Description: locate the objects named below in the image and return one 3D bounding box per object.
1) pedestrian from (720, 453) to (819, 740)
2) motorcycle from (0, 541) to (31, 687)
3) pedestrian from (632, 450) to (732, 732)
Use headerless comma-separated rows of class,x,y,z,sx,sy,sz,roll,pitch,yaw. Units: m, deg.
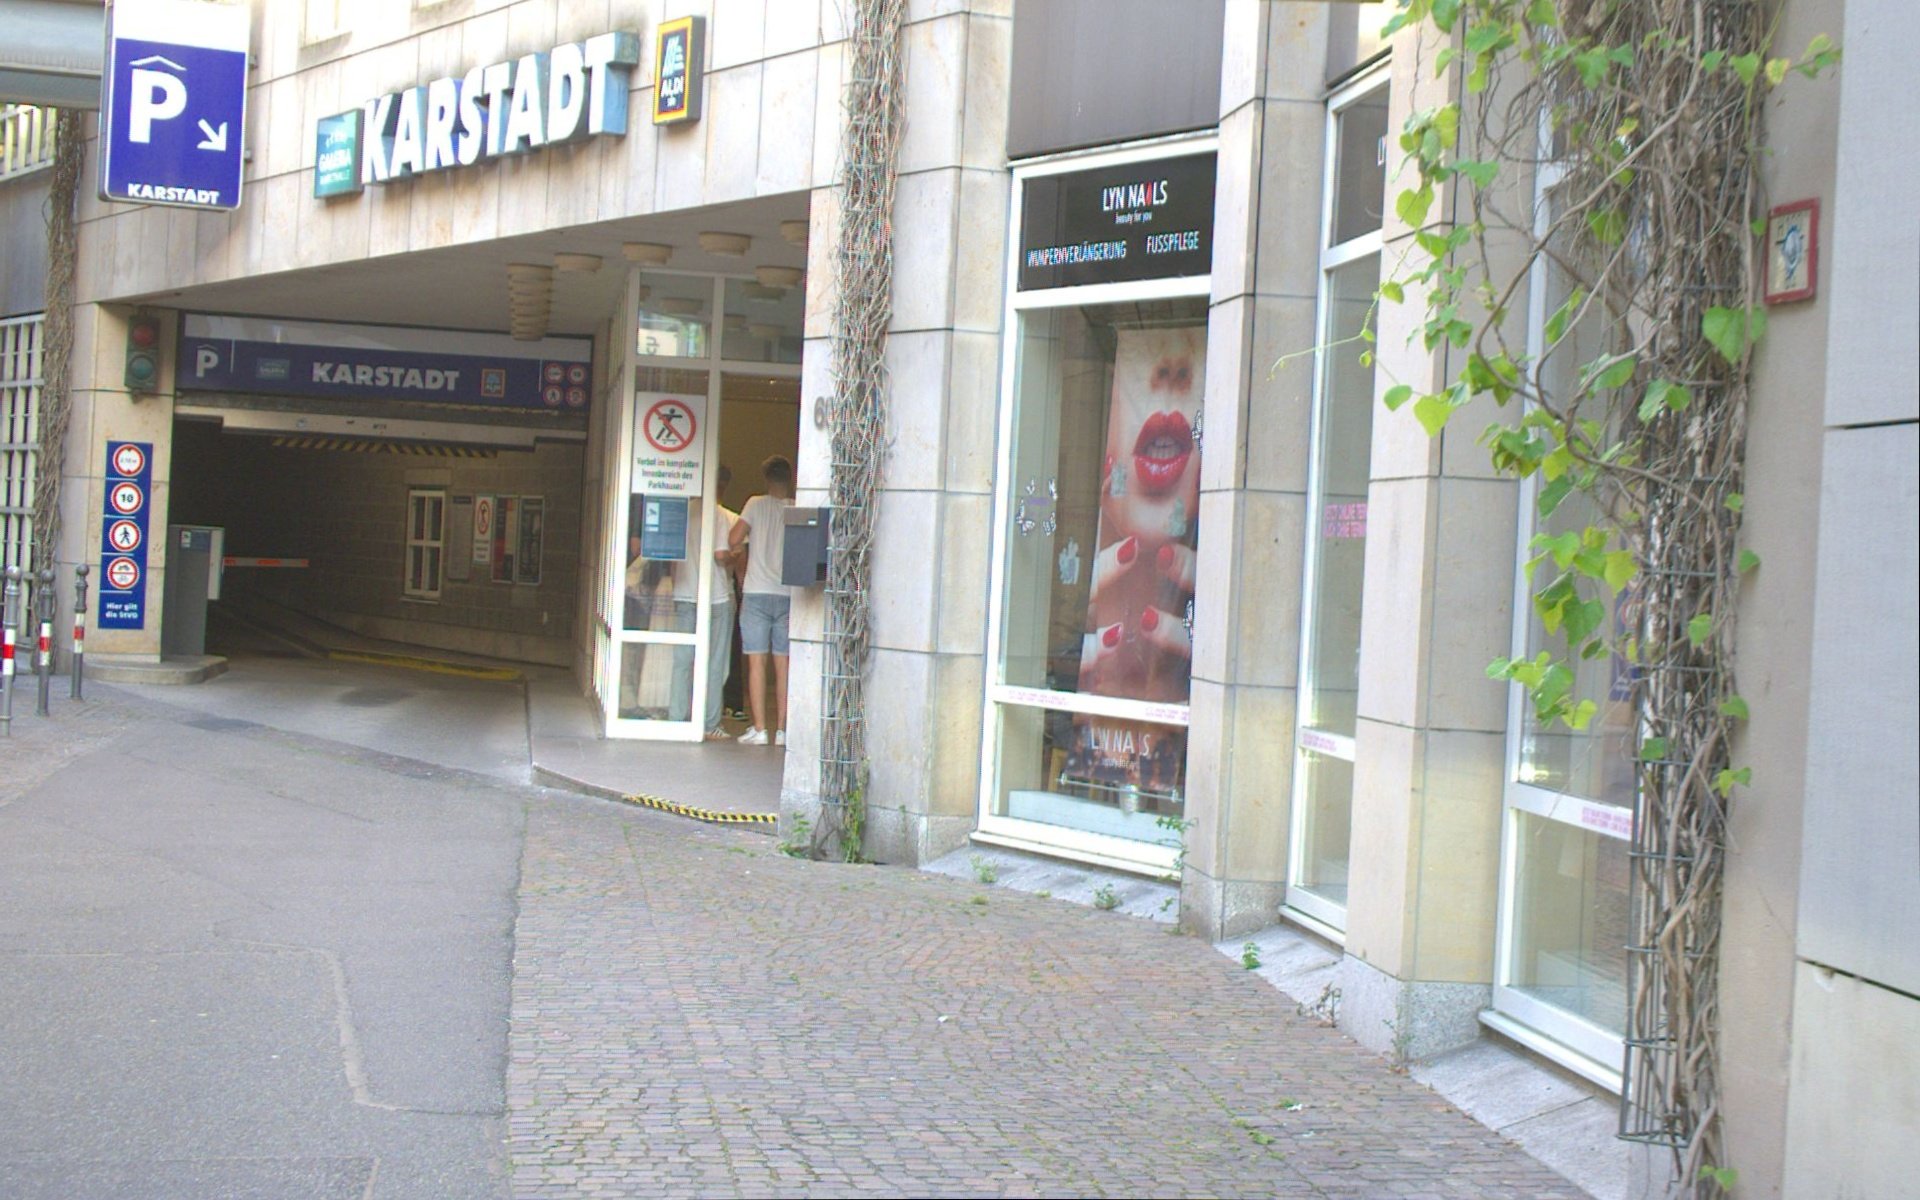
pedestrian,-1.258,-0.029,22.781,0.542,1.855,0.408,3,1,-1
motorcycle,-8.361,0.098,27.438,1.745,1.151,0.594,1,1,-24
pedestrian,-1.856,-0.066,22.974,0.542,1.840,0.408,3,1,-1
